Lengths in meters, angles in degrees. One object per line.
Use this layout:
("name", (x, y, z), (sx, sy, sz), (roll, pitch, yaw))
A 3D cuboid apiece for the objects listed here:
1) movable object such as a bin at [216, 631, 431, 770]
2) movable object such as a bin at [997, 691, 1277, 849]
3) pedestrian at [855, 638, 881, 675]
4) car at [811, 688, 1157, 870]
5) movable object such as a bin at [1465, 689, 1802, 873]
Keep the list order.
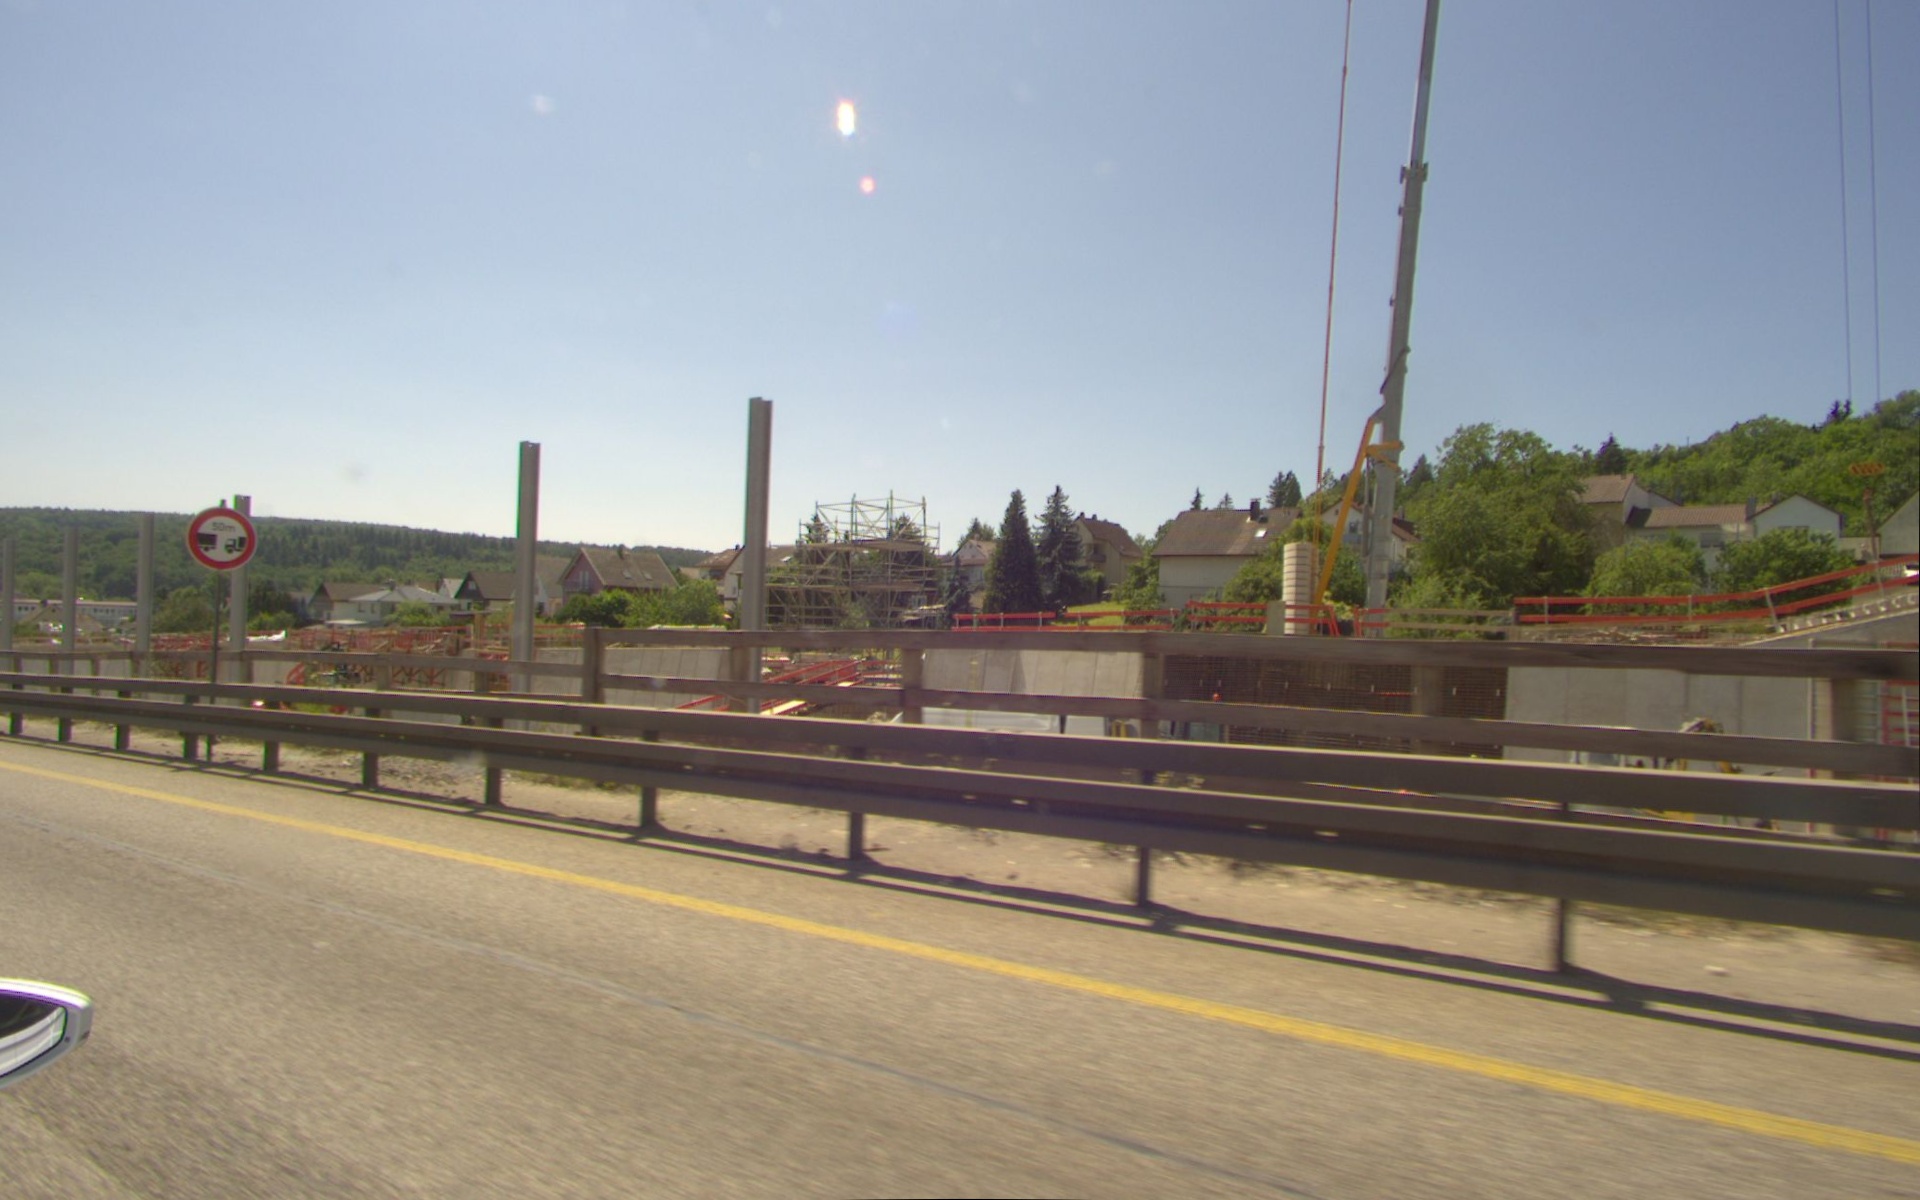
("movable object such as a bin", (-24.600, 3.676, 38.500), (9.519, 4.803, 3.222), (-2, -2, 32))
("movable object such as a bin", (3.639, 3.396, 21.167), (5.430, 2.710, 2.138), (-2, -2, 37))
("pedestrian", (-5.151, 3.155, 56.031), (0.960, 2.013, 1.134), (-2, -2, 36))
("car", (0.266, 3.320, 20.035), (6.932, 2.892, 2.138), (-2, -2, 36))
("movable object such as a bin", (13.955, 3.762, 20.554), (7.080, 2.931, 3.476), (12, -9, -35))
